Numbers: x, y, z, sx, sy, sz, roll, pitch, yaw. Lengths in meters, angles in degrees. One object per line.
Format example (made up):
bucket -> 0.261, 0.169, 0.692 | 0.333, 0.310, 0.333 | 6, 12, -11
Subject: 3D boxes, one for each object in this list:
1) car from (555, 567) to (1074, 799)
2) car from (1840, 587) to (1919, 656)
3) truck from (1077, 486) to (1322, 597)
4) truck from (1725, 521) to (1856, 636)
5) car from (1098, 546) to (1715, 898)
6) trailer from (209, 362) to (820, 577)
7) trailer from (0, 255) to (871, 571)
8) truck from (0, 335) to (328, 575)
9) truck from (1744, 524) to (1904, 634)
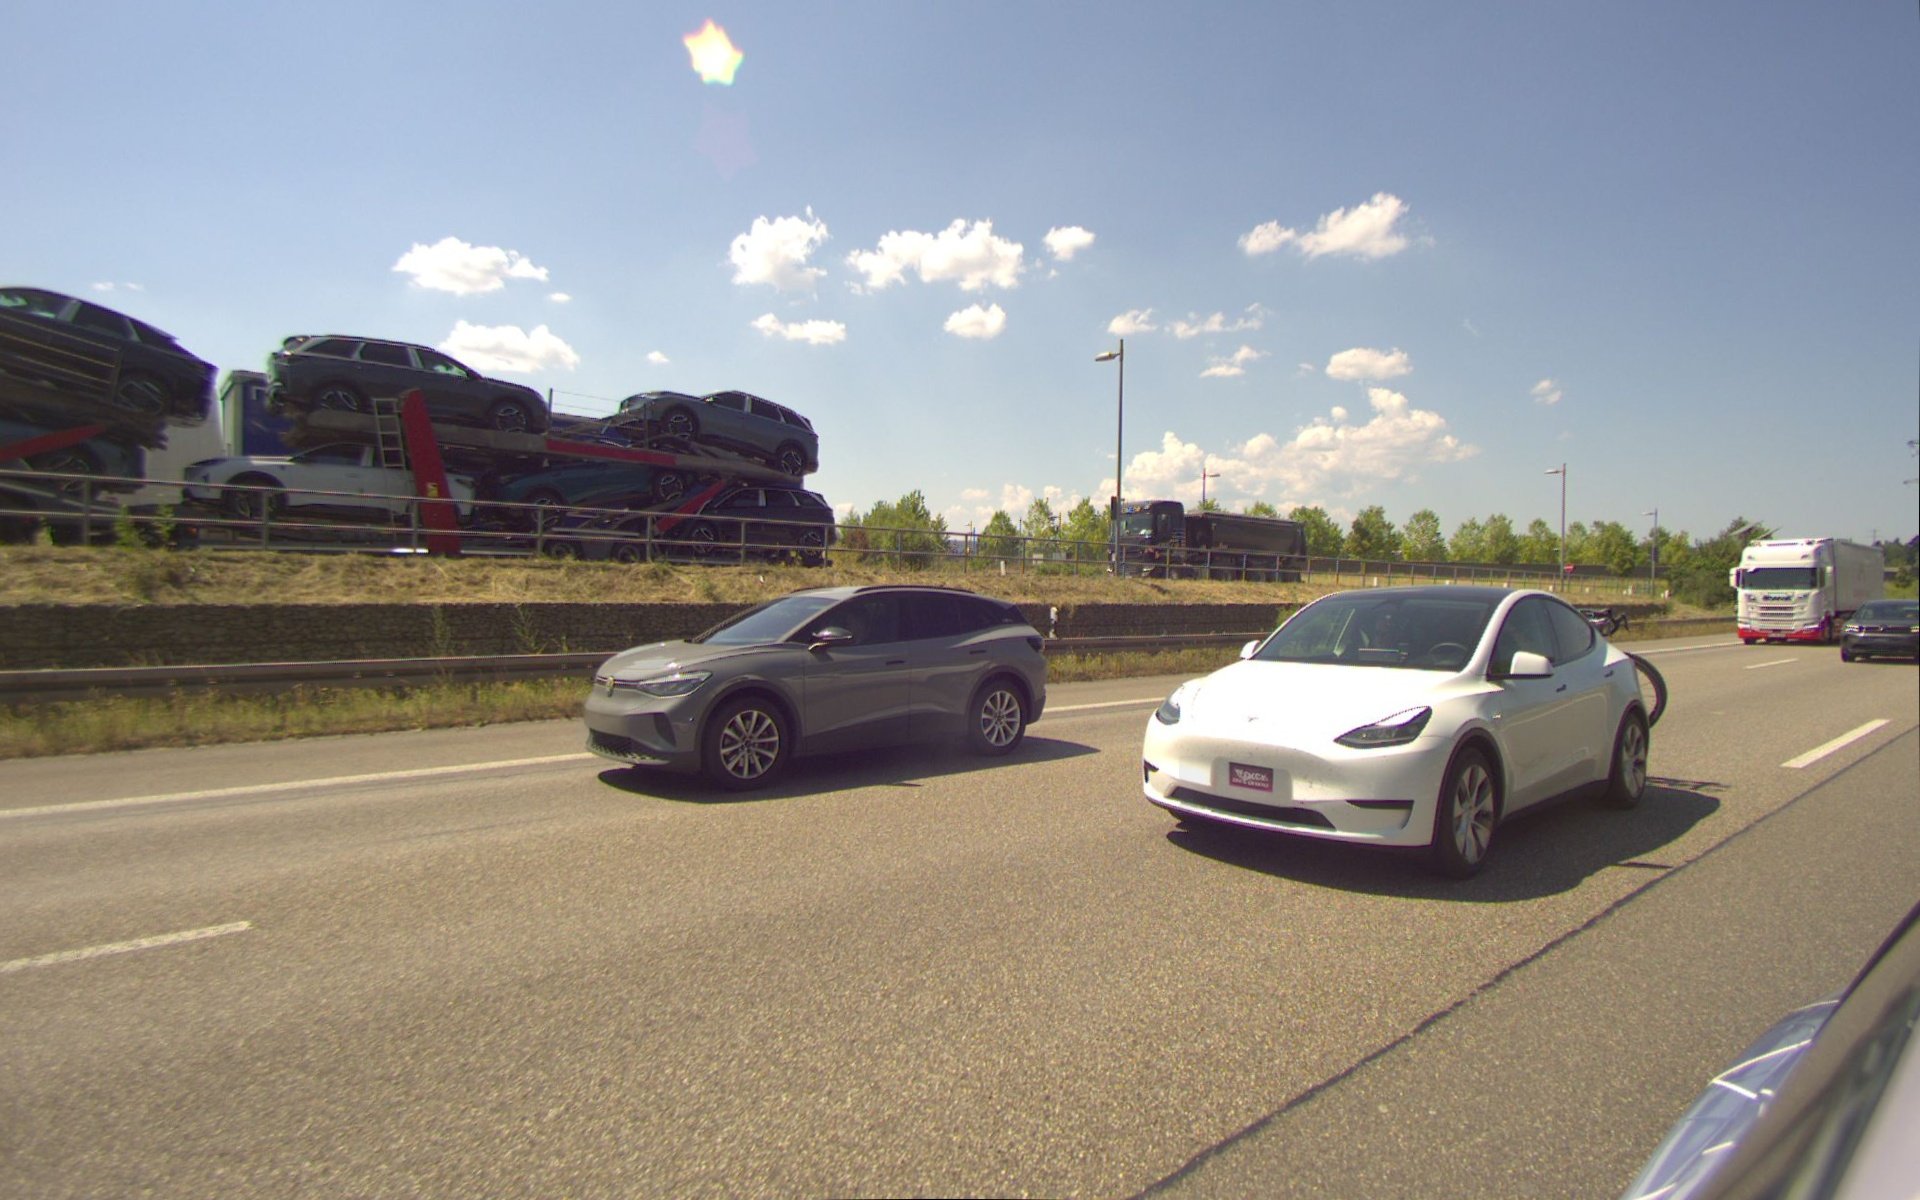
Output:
car -> -1.154, 0.567, 9.410 | 4.506, 1.657, 1.871 | -1, 0, -41
car -> 24.534, 0.511, 26.220 | 3.974, 1.667, 1.955 | -1, 0, -39
truck -> 10.566, -2.259, 43.298 | 12.302, 4.135, 3.794 | -1, 0, -41
truck -> 30.563, -0.736, 37.225 | 3.779, 3.957, 3.074 | 0, 0, -40
car -> 3.561, 0.551, 7.336 | 5.503, 1.657, 1.953 | -1, 0, -41
trailer -> -10.305, -2.715, 25.792 | 14.012, 4.135, 3.056 | -1, 0, -42
trailer -> -9.833, -2.795, 19.284 | 18.100, 4.311, 2.610 | -1, 0, -41
truck -> -16.536, -2.616, 20.180 | 6.288, 4.135, 3.057 | -1, 0, -42
truck -> 35.794, -0.791, 41.684 | 12.283, 3.957, 3.074 | -1, 0, -40
